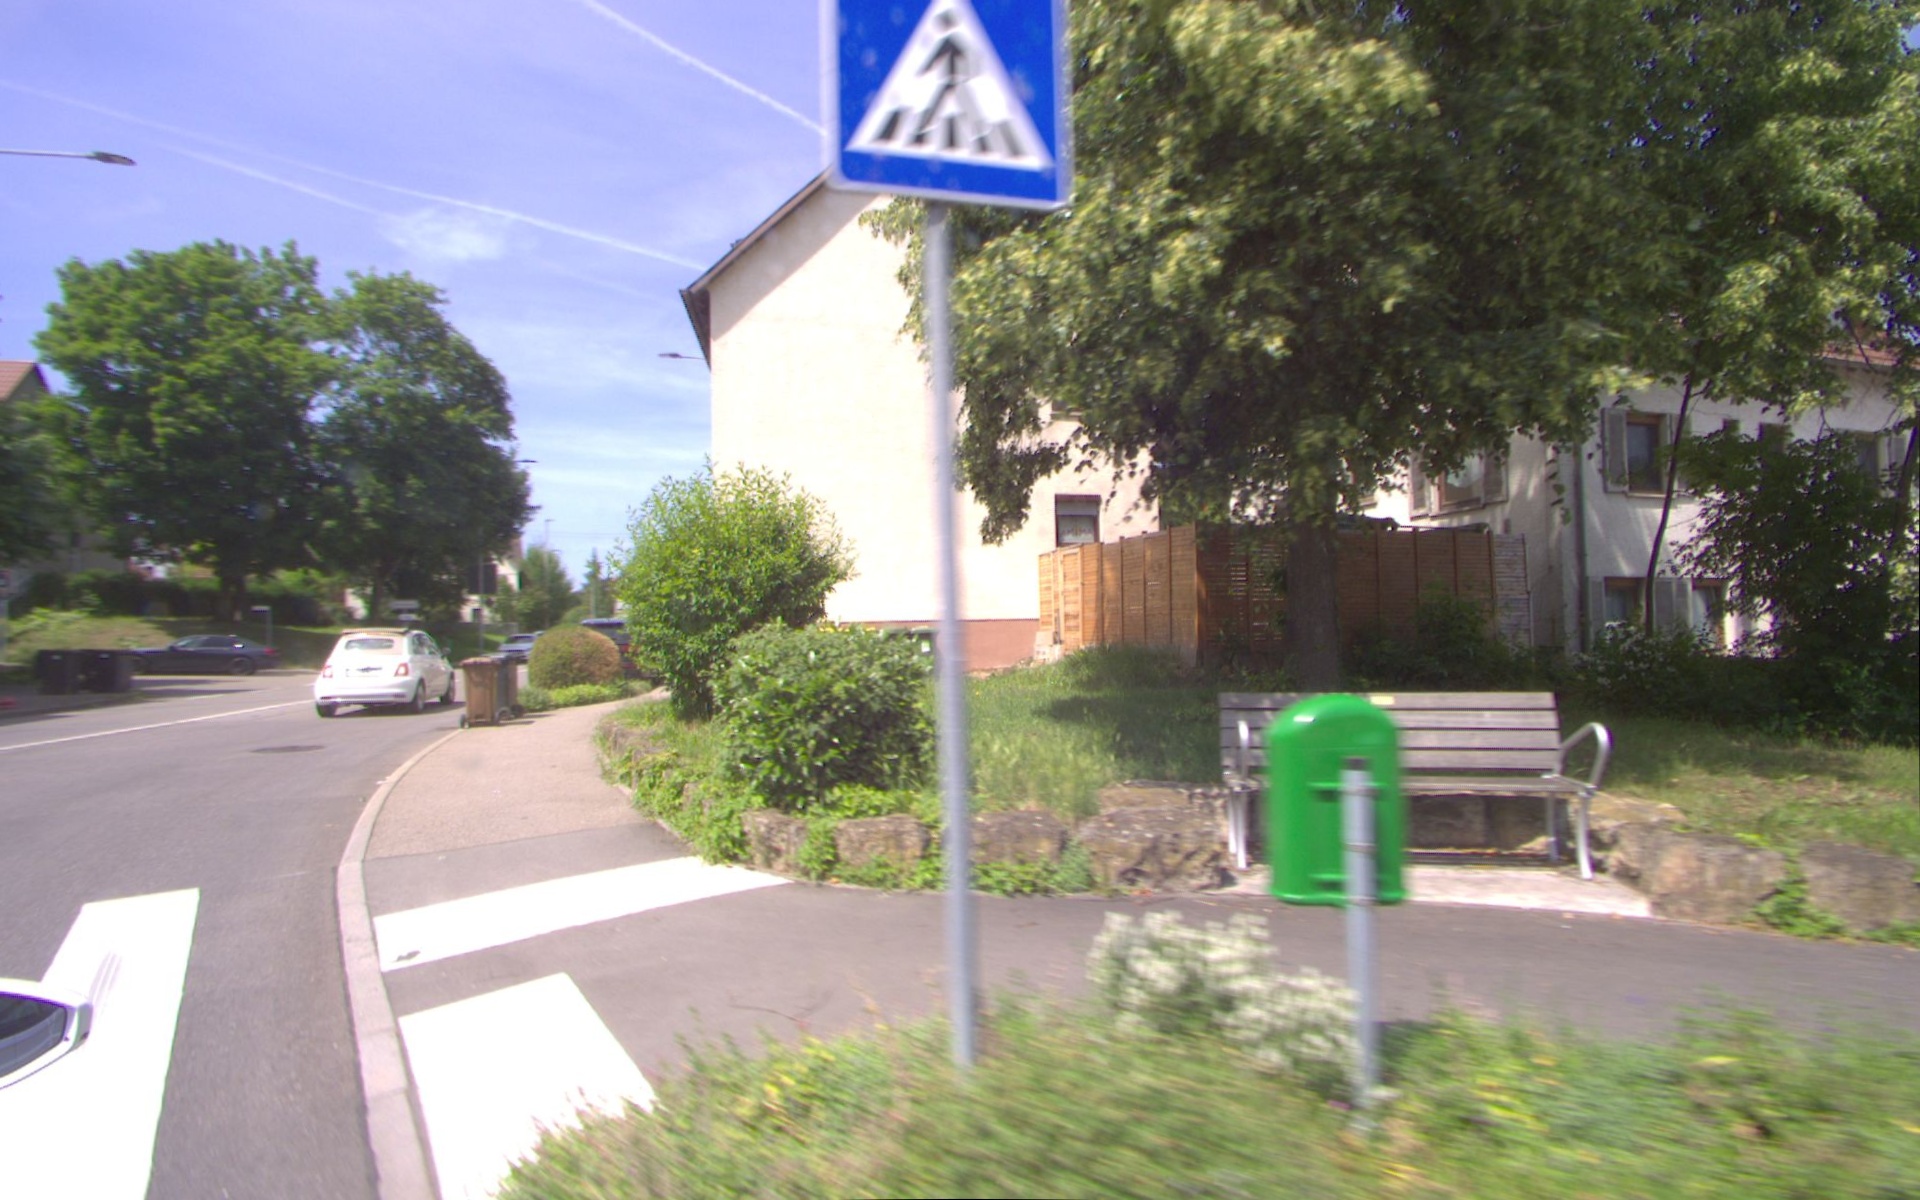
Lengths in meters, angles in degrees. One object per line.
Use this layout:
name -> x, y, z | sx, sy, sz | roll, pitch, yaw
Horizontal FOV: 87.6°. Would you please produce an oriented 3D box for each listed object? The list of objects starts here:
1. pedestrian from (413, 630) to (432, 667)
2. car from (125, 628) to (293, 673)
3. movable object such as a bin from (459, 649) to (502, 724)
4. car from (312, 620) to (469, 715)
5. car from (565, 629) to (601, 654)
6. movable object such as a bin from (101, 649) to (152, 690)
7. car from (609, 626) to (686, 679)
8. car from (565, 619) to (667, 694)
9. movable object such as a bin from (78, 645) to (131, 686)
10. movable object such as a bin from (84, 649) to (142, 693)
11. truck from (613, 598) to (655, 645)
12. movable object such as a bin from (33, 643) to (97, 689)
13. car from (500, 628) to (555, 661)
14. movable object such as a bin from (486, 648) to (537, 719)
pedestrian -> -24.034, 2.170, 44.783 | 0.722, 1.637, 0.626 | 1, -1, -29
car -> -27.620, 1.894, 37.057 | 4.726, 1.497, 1.990 | 4, -3, -31
movable object such as a bin -> -6.647, 1.189, 13.893 | 0.493, 1.006, 0.502 | 0, -1, -20
car -> -10.612, 1.203, 18.953 | 1.700, 1.580, 3.994 | 0, -2, -16
car -> -25.608, 2.782, 68.059 | 1.778, 1.442, 4.920 | -2, 0, -15
movable object such as a bin -> -21.984, 1.833, 26.422 | 0.759, 1.012, 0.609 | 3, -3, -9
car -> -9.400, 1.537, 30.392 | 1.761, 1.438, 4.355 | -1, -1, -11
car -> -8.392, 1.349, 24.804 | 1.815, 1.691, 4.653 | 0, -2, -12
movable object such as a bin -> -21.951, 1.690, 25.698 | 0.760, 1.012, 0.609 | 3, -3, -10
movable object such as a bin -> -20.474, 1.715, 24.220 | 0.838, 1.013, 0.693 | 0, -1, -10
truck -> -28.227, 1.894, 86.425 | 3.026, 3.822, 7.851 | -1, -2, -20
movable object such as a bin -> -20.905, 1.528, 23.407 | 0.788, 1.013, 0.804 | 2, 0, -10
car -> -21.973, 2.240, 50.977 | 1.728, 1.486, 4.359 | -3, -1, -13
movable object such as a bin -> -6.594, 1.216, 14.728 | 0.516, 1.006, 0.502 | 0, 1, 2
